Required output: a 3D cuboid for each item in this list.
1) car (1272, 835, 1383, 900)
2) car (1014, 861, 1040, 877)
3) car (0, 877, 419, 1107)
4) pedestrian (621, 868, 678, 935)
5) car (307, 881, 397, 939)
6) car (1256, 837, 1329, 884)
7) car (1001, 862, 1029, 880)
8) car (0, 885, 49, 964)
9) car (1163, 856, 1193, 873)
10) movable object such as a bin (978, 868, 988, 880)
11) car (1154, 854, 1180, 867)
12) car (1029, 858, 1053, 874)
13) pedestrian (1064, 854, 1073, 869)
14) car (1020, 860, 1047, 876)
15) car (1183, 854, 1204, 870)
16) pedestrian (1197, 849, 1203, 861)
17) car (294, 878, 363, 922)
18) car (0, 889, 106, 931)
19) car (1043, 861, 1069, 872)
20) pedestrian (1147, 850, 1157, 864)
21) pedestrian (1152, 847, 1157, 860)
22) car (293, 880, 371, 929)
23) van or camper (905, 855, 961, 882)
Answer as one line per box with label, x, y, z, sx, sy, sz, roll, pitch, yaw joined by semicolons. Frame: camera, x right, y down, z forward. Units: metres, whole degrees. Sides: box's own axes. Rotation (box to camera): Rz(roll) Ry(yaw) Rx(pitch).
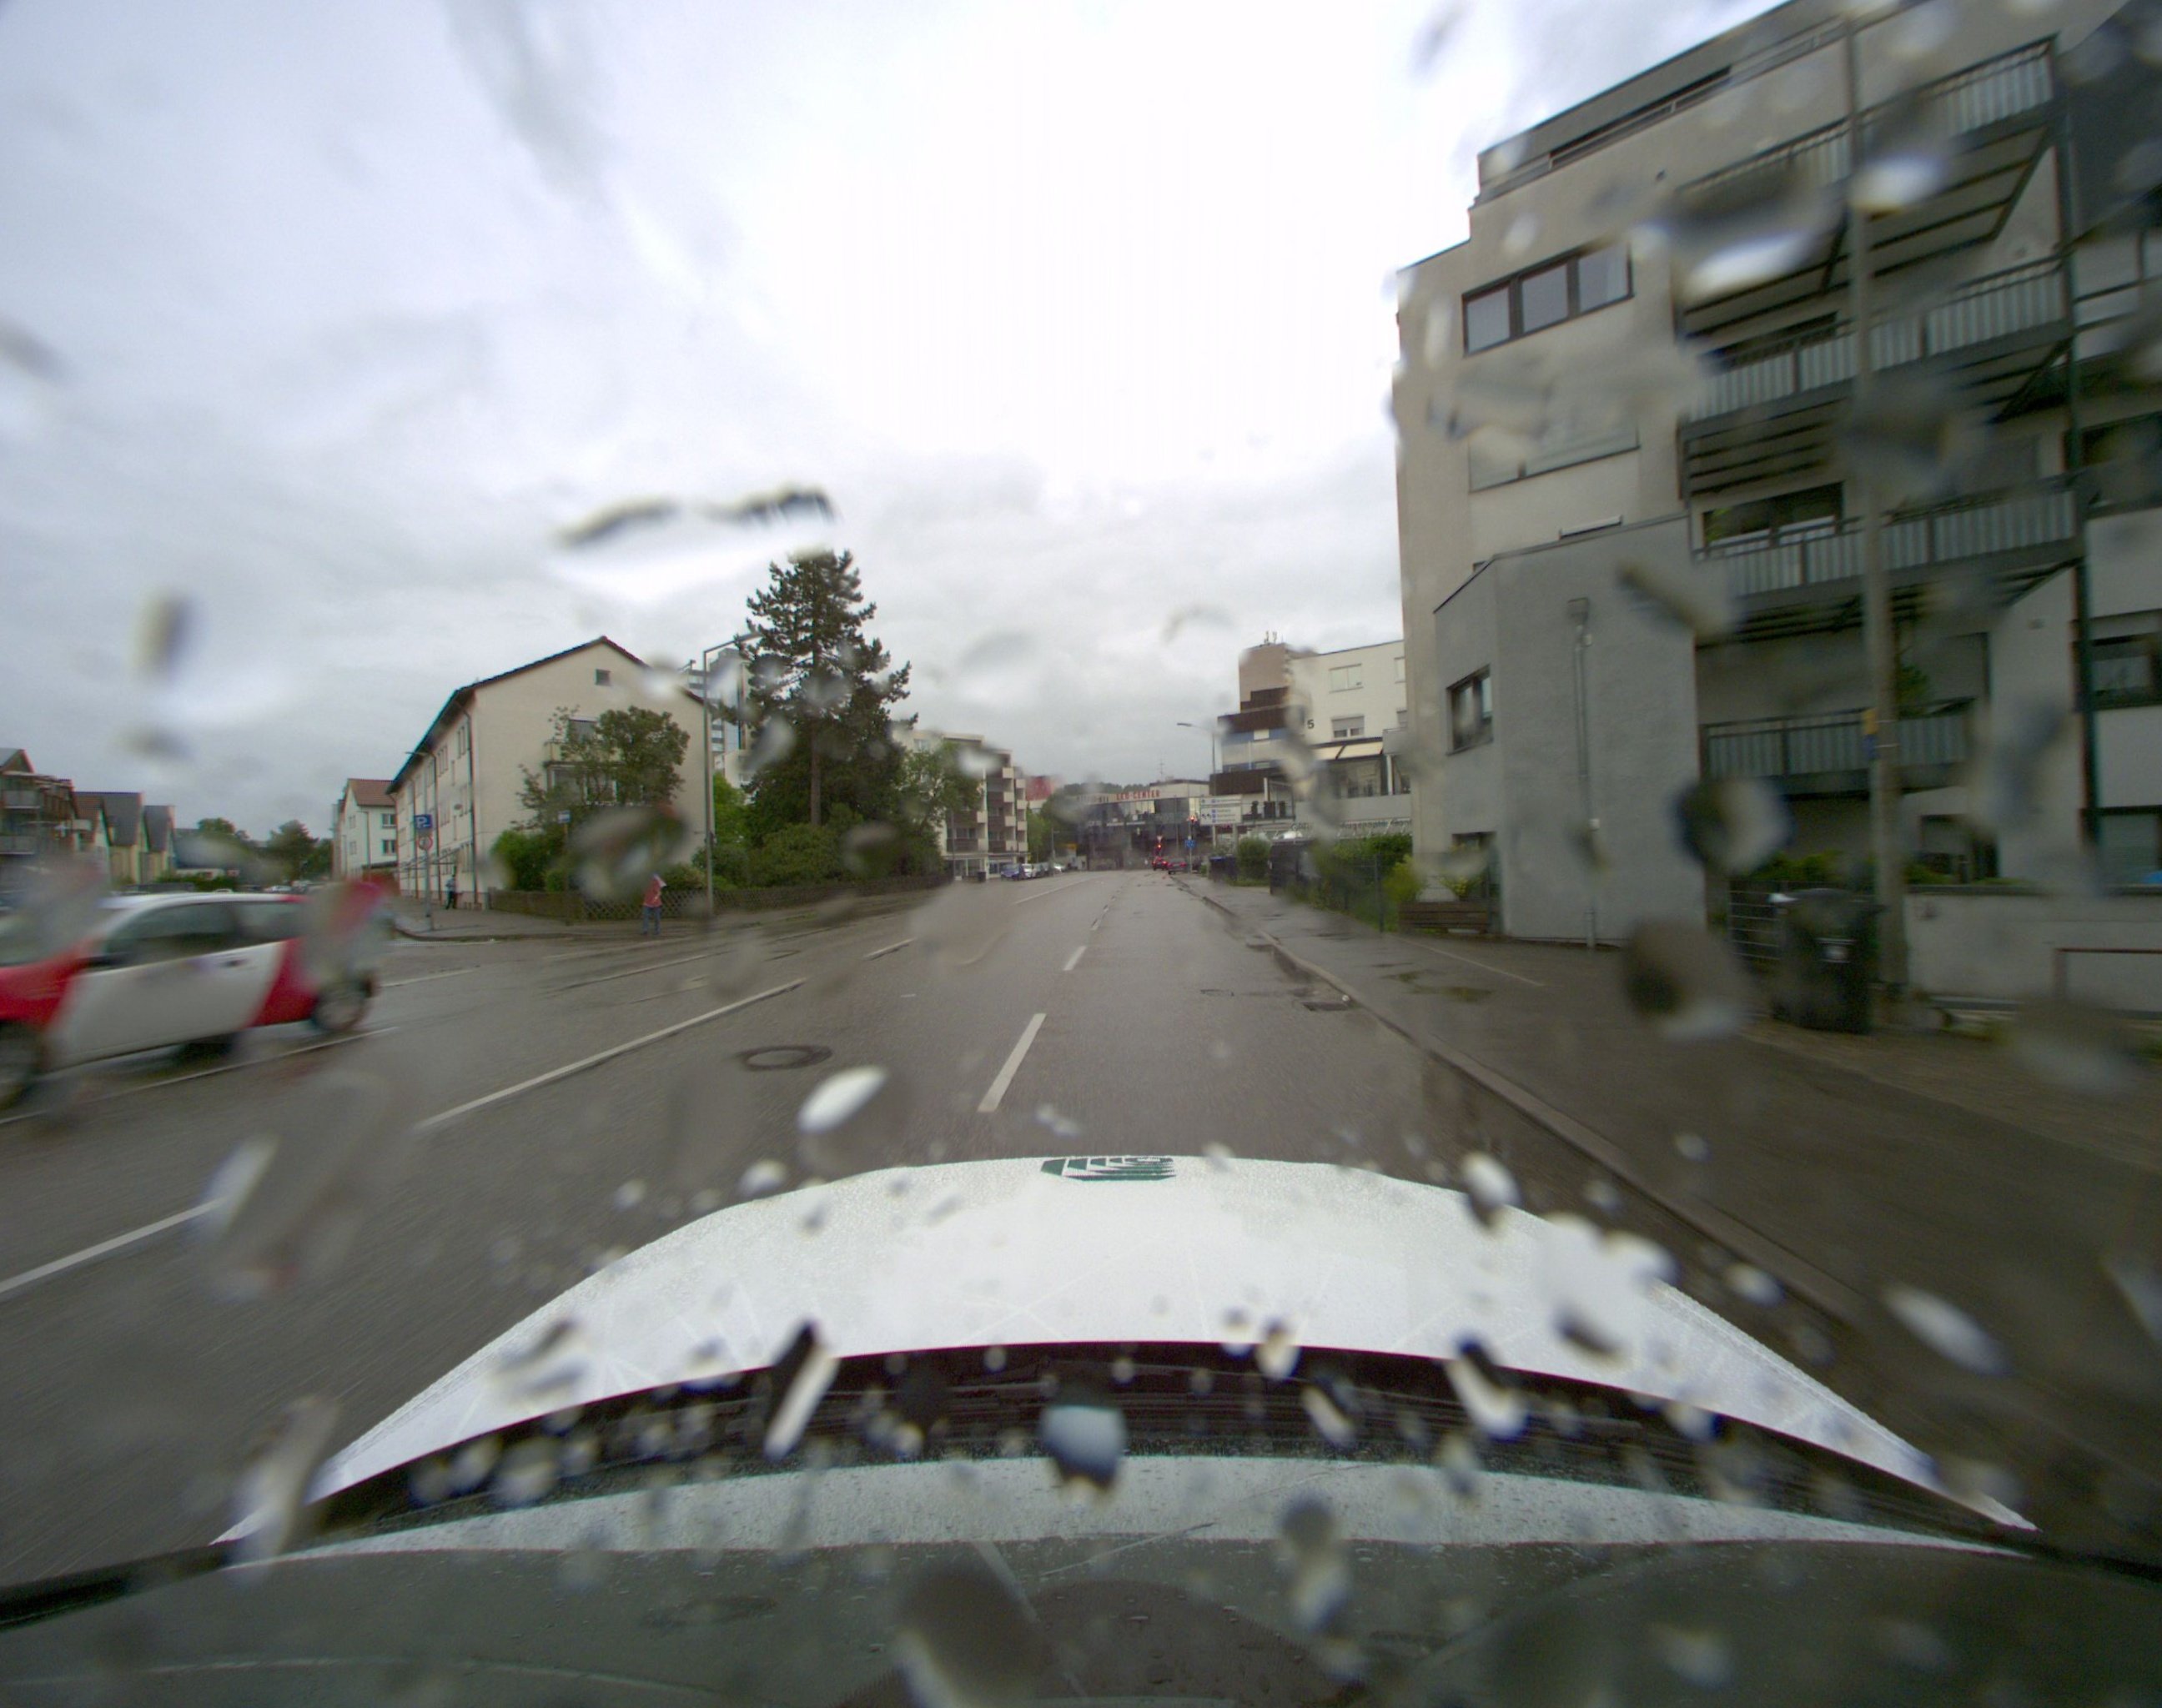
car;7.617;0.383;25.703;1.987;1.785;4.689;-2;0;-1
car;-5.205;1.442;78.886;1.684;1.464;4.692;-2;0;6
car;-8.217;1.065;6.936;1.691;1.409;4.002;-5;1;2
pedestrian;-10.924;1.183;20.662;0.867;1.607;1.102;-2;-1;-3
car;-21.016;1.534;23.454;1.797;1.446;3.953;-1;0;-43
car;9.899;0.248;37.771;1.974;2.013;4.809;-2;0;30
car;-5.881;1.516;72.847;1.643;1.521;4.332;-2;0;6
car;-24.600;1.531;16.342;4.408;1.615;2.108;-2;0;-38
car;9.113;1.008;76.173;1.978;1.534;4.666;-1;-2;16
movable object such as a bin;-8.281;1.687;69.091;0.644;0.966;0.684;-3;-1;6
car;10.113;0.711;95.758;1.788;1.419;4.023;-3;0;24
car;-4.395;1.304;89.606;1.924;1.542;4.280;-2;0;6
pedestrian;-1.595;0.982;105.699;0.741;2.013;0.926;2;0;27
car;-4.884;1.402;84.103;1.924;1.542;4.529;-2;0;6
car;12.048;0.838;87.109;1.686;1.486;4.016;-5;-1;15
pedestrian;21.004;0.167;143.904;0.781;2.014;0.673;-3;-1;16
car;-28.162;1.672;30.496;1.797;1.446;3.775;-1;0;-43
car;-40.685;2.177;31.325;3.843;1.446;1.766;-2;0;-41
car;-3.848;1.881;125.250;2.007;1.512;4.390;1;1;-31
pedestrian;8.919;0.404;102.599;0.912;1.659;0.750;1;1;-22
pedestrian;9.374;-0.086;103.540;0.607;1.659;0.672;2;1;1
car;-25.007;1.633;27.201;1.797;1.446;3.775;-1;0;-43
van or camper;-11.513;1.128;63.039;2.010;1.924;5.158;-3;1;-39
